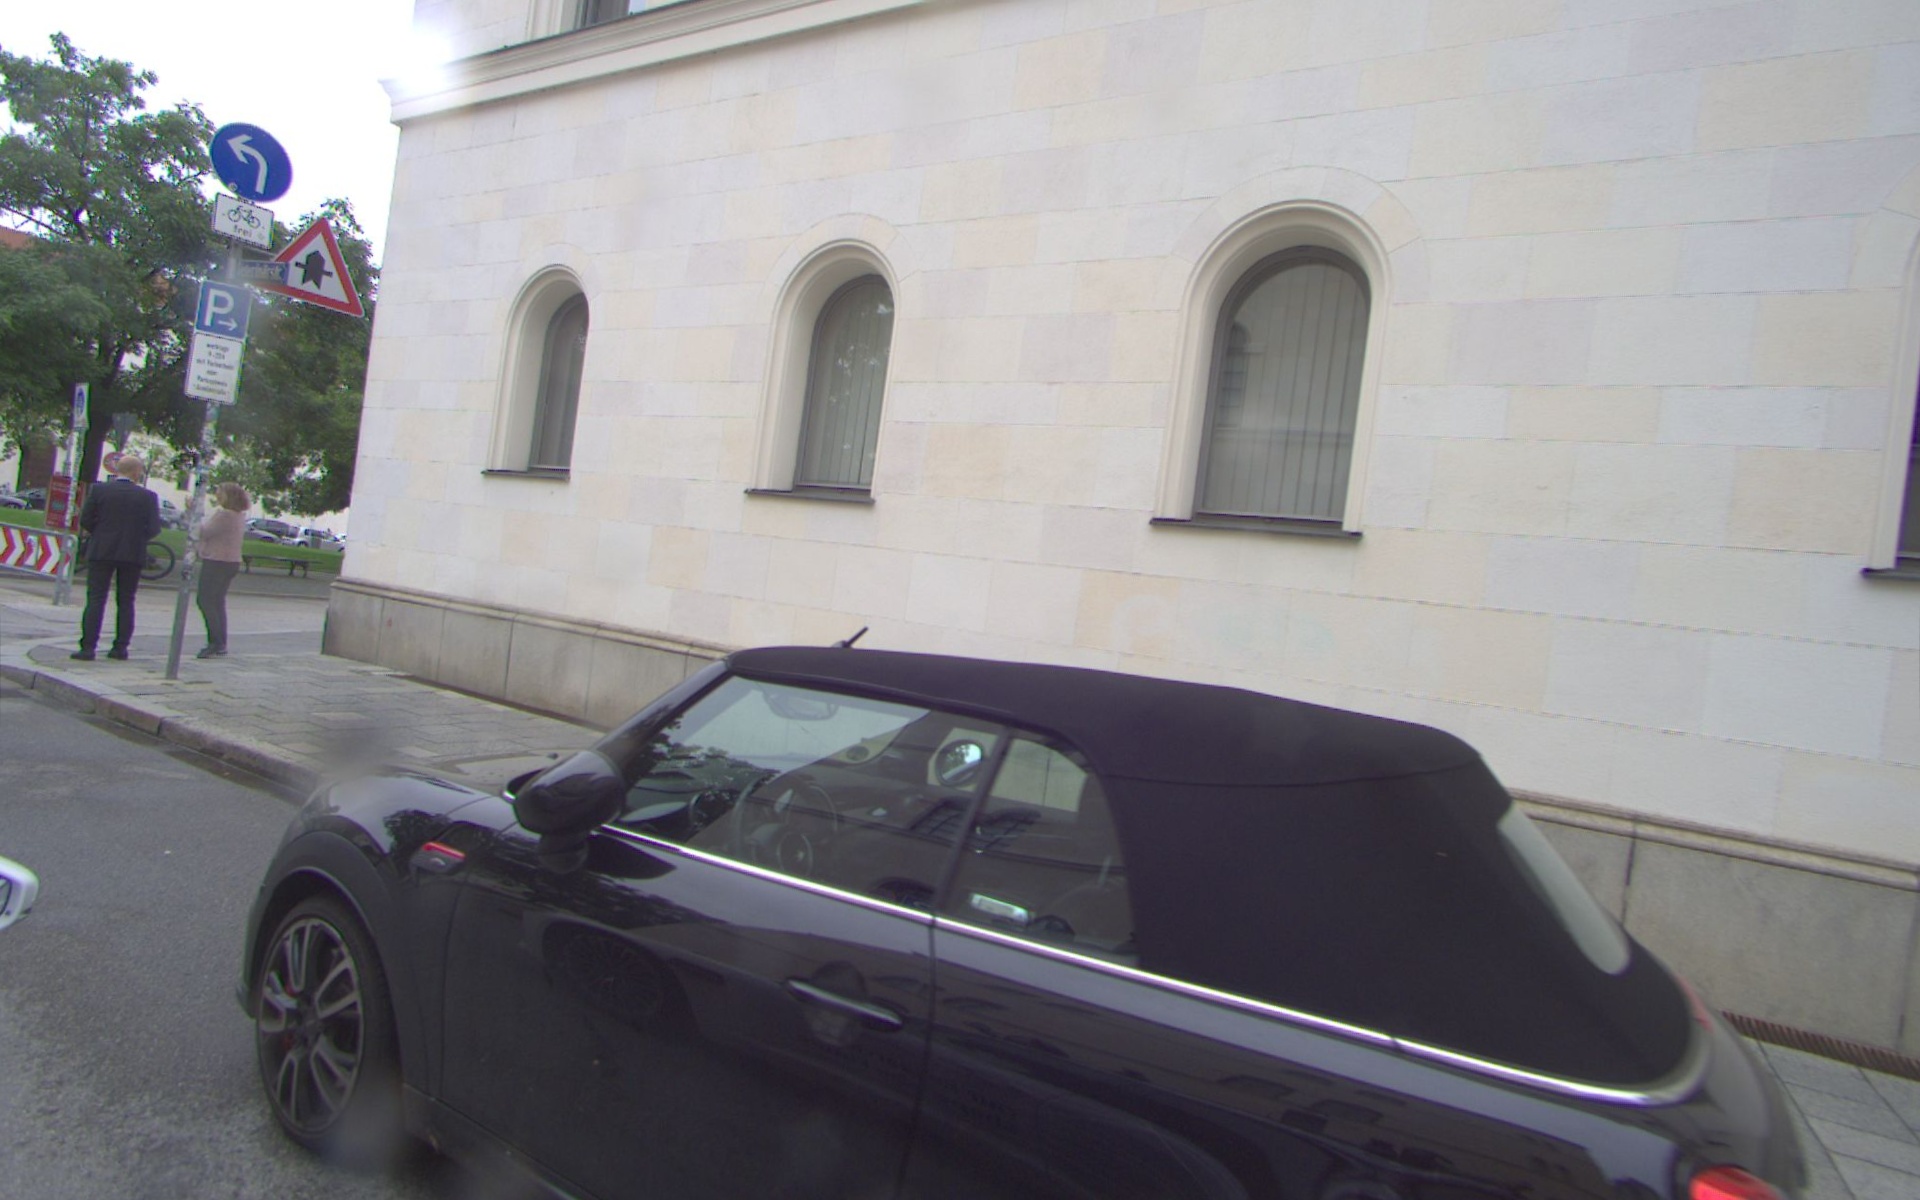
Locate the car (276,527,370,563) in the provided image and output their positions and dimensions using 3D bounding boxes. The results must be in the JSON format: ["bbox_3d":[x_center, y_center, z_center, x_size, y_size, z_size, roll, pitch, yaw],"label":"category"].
[{"bbox_3d":[-38.277,-3.278,60.570,1.773,1.435,4.365,8,-1,31],"label":"car"}]

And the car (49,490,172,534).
[{"bbox_3d":[-42.899,-4.422,50.897,1.773,1.435,4.365,8,-1,31],"label":"car"}]

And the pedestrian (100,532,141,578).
[{"bbox_3d":[-15.773,-0.847,18.900,0.453,0.771,0.415,8,0,34],"label":"pedestrian"}]

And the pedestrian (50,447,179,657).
[{"bbox_3d":[-7.778,-0.430,9.266,0.481,1.830,0.642,8,0,35],"label":"pedestrian"}]

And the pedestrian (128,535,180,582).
[{"bbox_3d":[-15.492,-0.792,19.327,0.557,0.771,0.570,8,-1,34],"label":"pedestrian"}]

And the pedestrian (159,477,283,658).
[{"bbox_3d":[-7.403,-0.313,10.096,0.536,1.701,0.622,8,-1,24],"label":"pedestrian"}]

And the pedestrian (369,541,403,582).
[{"bbox_3d":[-16.797,-1.123,29.430,0.608,1.078,0.531,8,0,34],"label":"pedestrian"}]

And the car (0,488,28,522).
[{"bbox_3d":[-46.023,-4.695,46.149,1.773,1.435,4.365,8,-1,31],"label":"car"}]

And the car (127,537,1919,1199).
[{"bbox_3d":[-0.325,0.801,2.590,3.708,1.443,1.543,7,-1,31],"label":"car"}]

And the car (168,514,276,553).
[{"bbox_3d":[-40.761,-3.656,55.656,1.773,1.435,4.365,8,-1,31],"label":"car"}]
